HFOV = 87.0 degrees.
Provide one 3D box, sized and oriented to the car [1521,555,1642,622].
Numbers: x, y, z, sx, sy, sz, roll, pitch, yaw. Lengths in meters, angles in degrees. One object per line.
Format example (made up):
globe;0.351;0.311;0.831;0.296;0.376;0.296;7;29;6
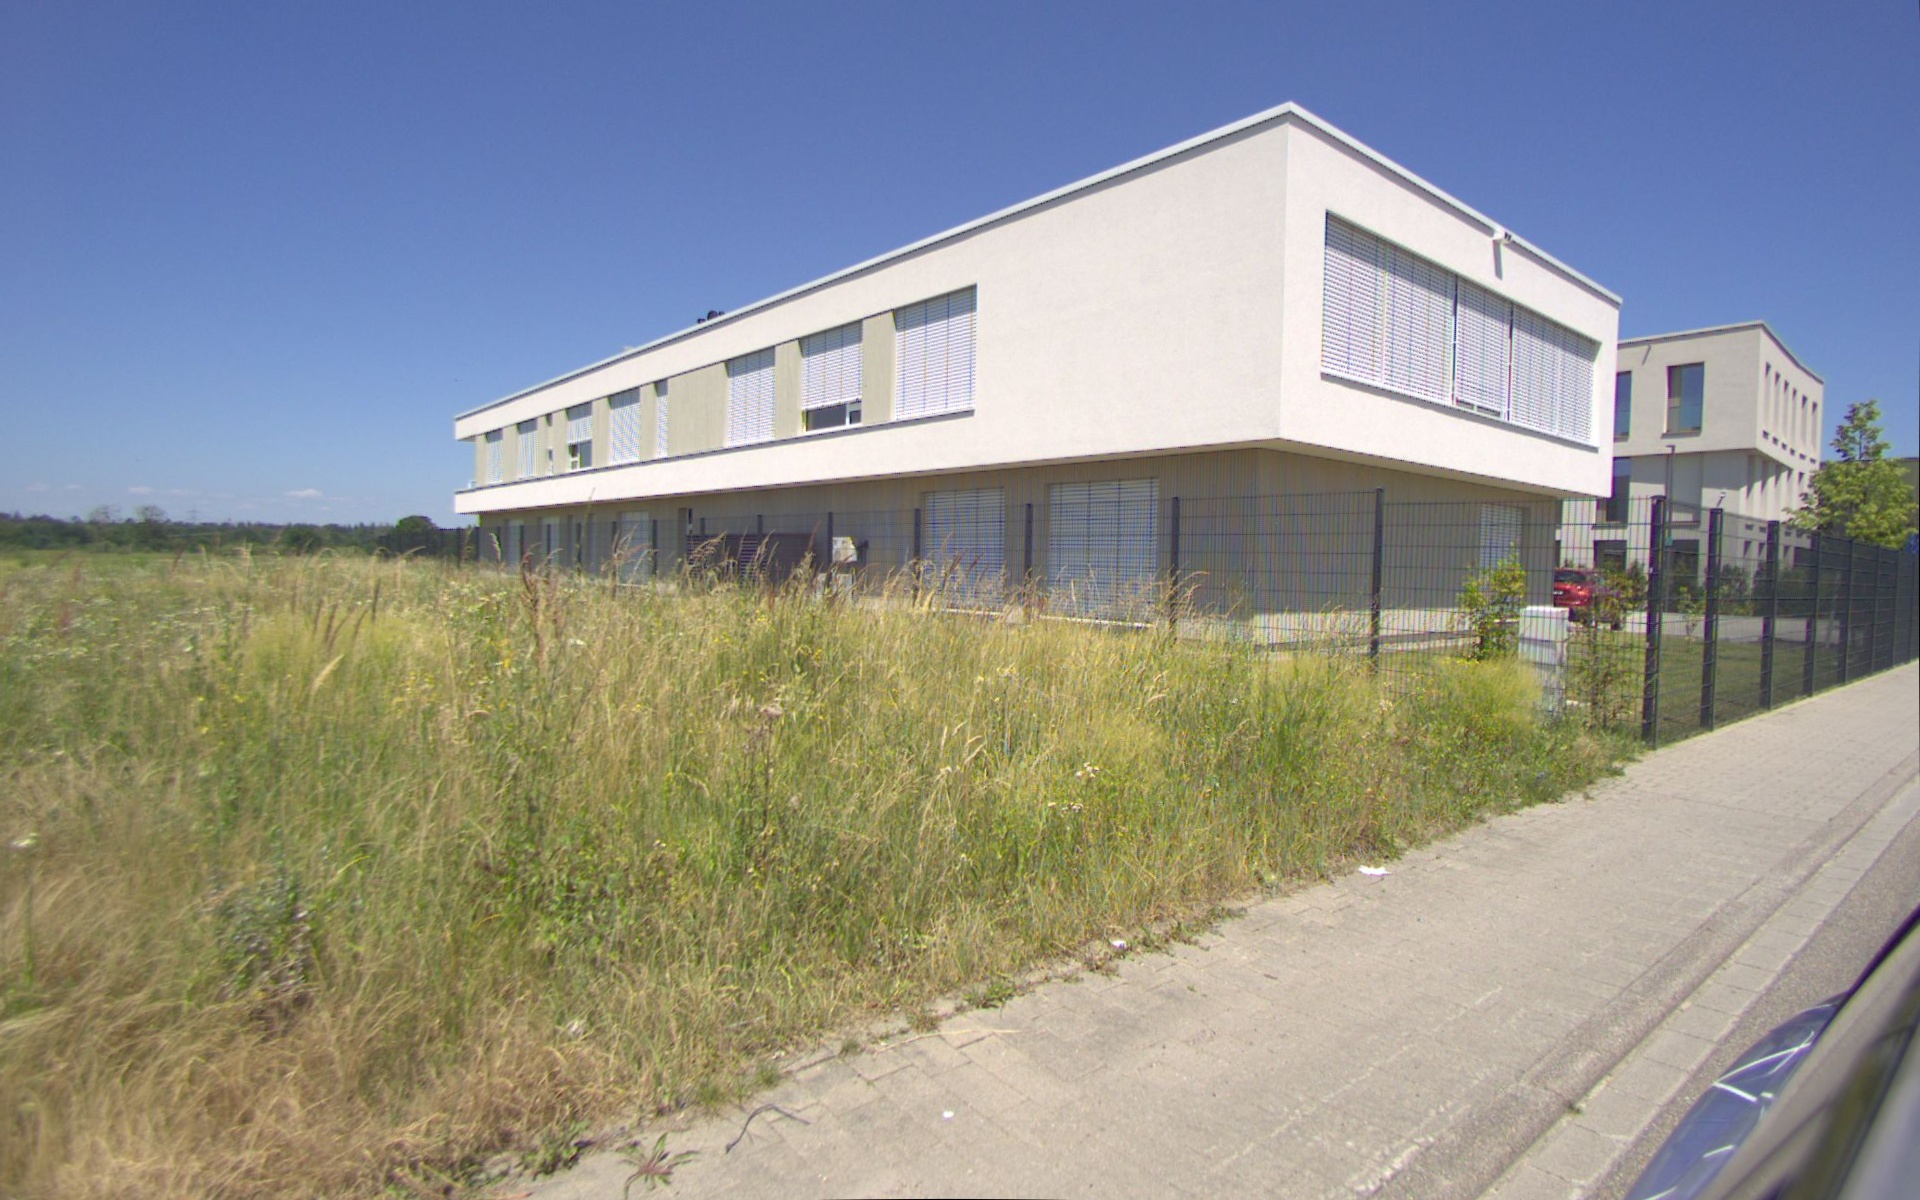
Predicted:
car;16.039;-0.281;26.034;4.010;1.577;1.670;1;1;-44
